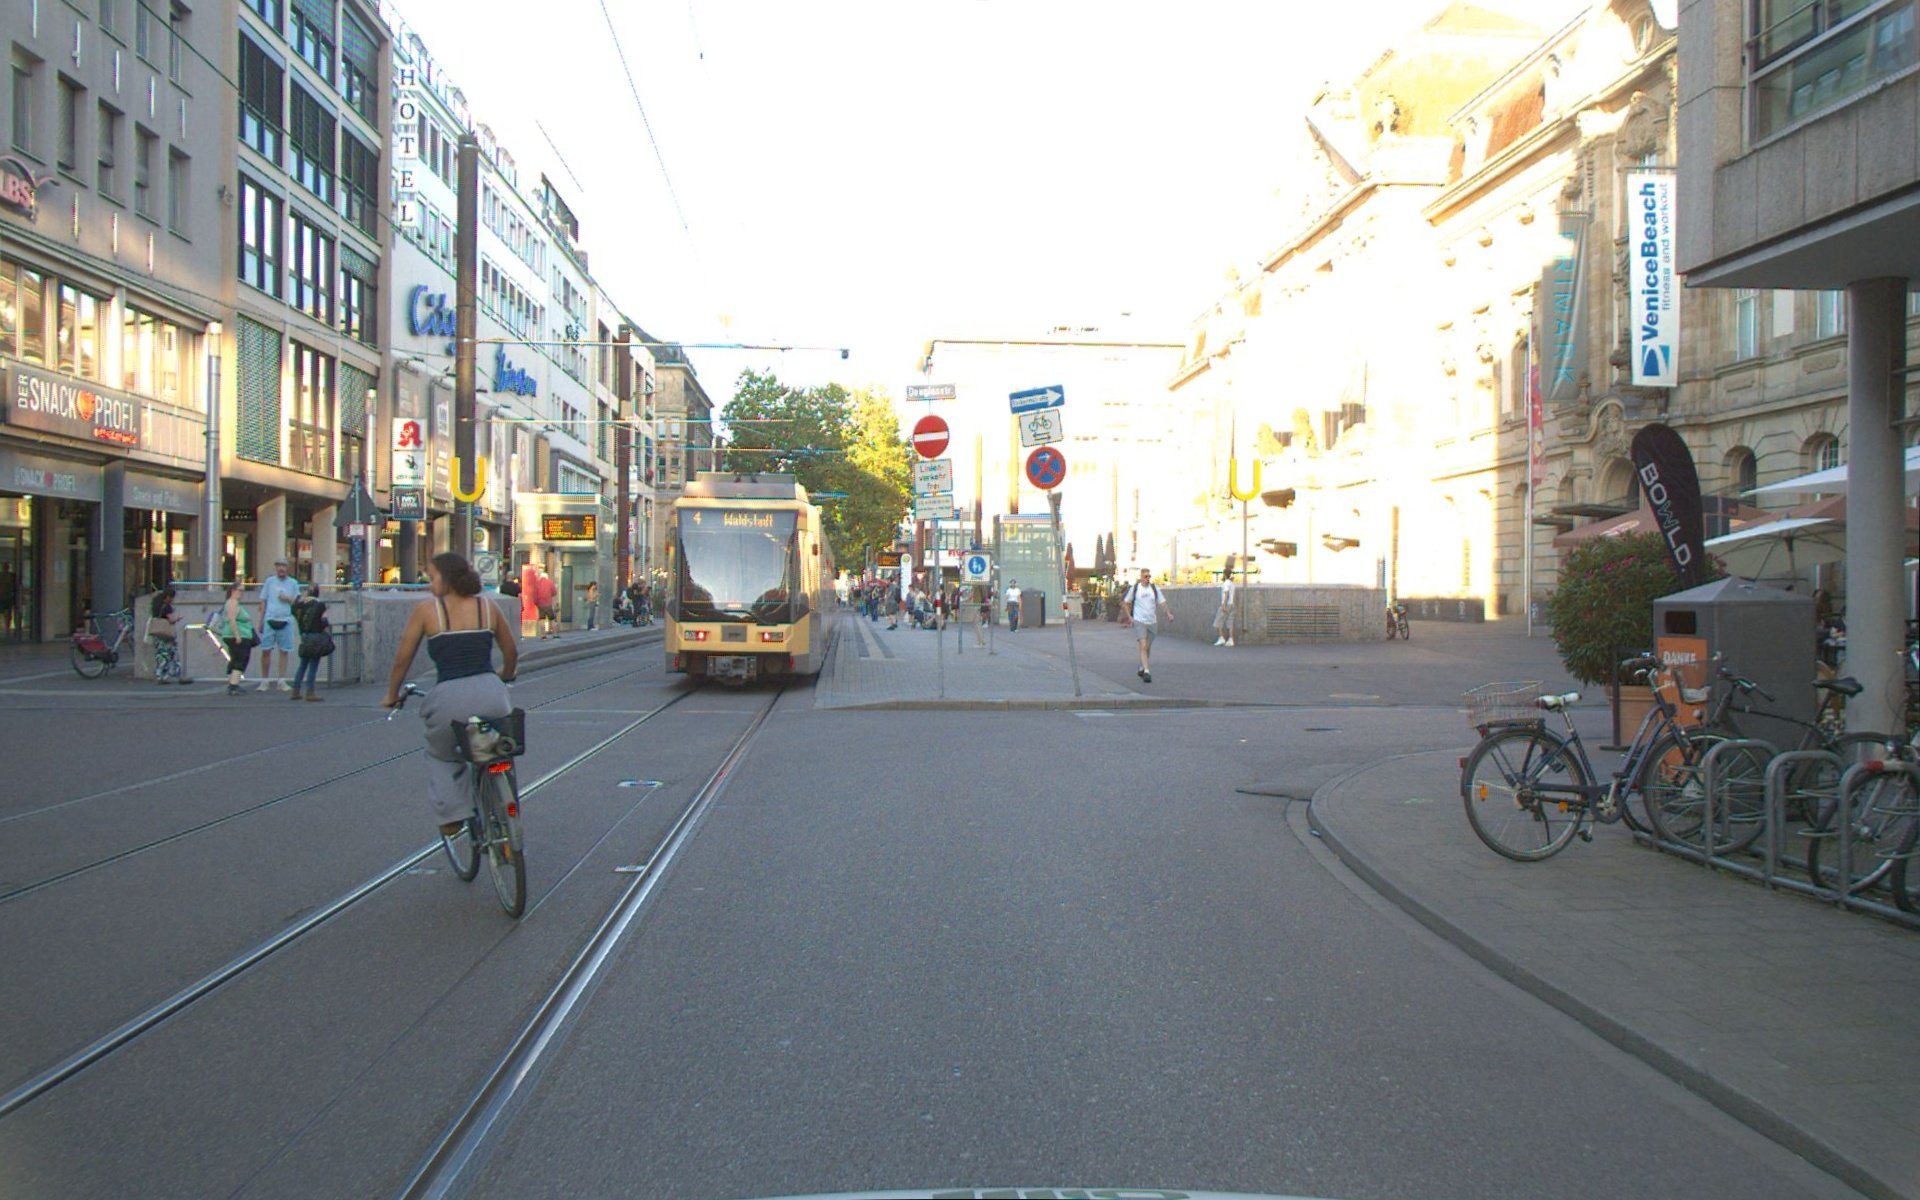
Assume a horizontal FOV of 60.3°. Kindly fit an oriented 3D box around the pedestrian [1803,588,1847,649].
[{"bbox_3d":[19.623,0.415,37.523,0.596,1.331,0.608,1,2,-9],"label":"pedestrian"}]

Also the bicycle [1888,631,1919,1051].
[{"bbox_3d":[4.060,0.754,5.248,1.879,1.356,0.724,-2,0,-9],"label":"bicycle"}]

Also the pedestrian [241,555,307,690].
[{"bbox_3d":[-10.146,0.327,24.475,0.759,1.960,0.707,0,-1,-12],"label":"pedestrian"}]

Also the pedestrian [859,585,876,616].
[{"bbox_3d":[-5.155,0.017,92.300,0.775,1.690,0.770,0,0,8],"label":"pedestrian"}]

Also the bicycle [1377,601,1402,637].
[{"bbox_3d":[10.955,0.483,42.196,0.309,0.882,0.999,-1,0,-5],"label":"bicycle"}]

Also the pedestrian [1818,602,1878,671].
[{"bbox_3d":[17.254,0.691,32.154,0.762,1.264,0.829,1,3,10],"label":"pedestrian"}]

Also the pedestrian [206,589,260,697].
[{"bbox_3d":[-10.329,0.608,23.512,0.593,1.520,0.554,0,-1,-12],"label":"pedestrian"}]

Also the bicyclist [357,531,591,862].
[{"bbox_3d":[-2.431,0.451,8.227,0.984,1.528,0.851,2,0,-24],"label":"bicyclist"}]

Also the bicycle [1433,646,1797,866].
[{"bbox_3d":[3.704,0.862,9.421,1.817,1.128,0.666,-1,0,-7],"label":"bicycle"}]

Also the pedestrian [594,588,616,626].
[{"bbox_3d":[-13.145,0.254,61.310,0.693,1.403,0.720,0,-1,-5],"label":"pedestrian"}]

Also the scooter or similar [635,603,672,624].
[{"bbox_3d":[-12.383,0.543,66.774,0.548,0.845,1.520,-1,-1,35],"label":"scooter or similar"}]

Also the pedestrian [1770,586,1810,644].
[{"bbox_3d":[19.394,0.348,38.646,0.581,1.331,0.581,1,2,-9],"label":"pedestrian"}]

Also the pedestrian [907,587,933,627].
[{"bbox_3d":[-1.596,0.275,65.880,0.751,1.606,0.794,0,0,25],"label":"pedestrian"}]

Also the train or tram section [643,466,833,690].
[{"bbox_3d":[-3.925,-0.383,32.337,2.745,3.377,14.496,0,0,-4],"label":"train or tram section"}]

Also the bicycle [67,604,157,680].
[{"bbox_3d":[-13.712,0.658,26.807,0.488,1.127,1.801,0,2,1],"label":"bicycle"}]

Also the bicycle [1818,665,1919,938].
[{"bbox_3d":[4.908,0.836,7.306,1.879,1.096,0.762,-2,0,-9],"label":"bicycle"}]

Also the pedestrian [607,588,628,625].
[{"bbox_3d":[-13.124,0.258,63.416,0.693,1.403,0.720,0,-1,-5],"label":"pedestrian"}]

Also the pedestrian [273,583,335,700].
[{"bbox_3d":[-8.911,0.560,22.488,0.672,1.569,0.604,0,-1,-11],"label":"pedestrian"}]

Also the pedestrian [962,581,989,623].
[{"bbox_3d":[0.624,0.066,67.040,0.763,1.690,0.782,0,0,-45],"label":"pedestrian"}]

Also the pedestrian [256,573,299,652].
[{"bbox_3d":[-15.276,0.280,37.011,0.700,1.756,0.708,0,-1,-6],"label":"pedestrian"}]

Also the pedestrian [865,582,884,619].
[{"bbox_3d":[-4.029,0.019,77.922,0.750,1.690,0.795,0,0,8],"label":"pedestrian"}]

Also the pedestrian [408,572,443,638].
[{"bbox_3d":[-13.311,0.121,41.185,0.595,1.616,0.624,-1,-1,44],"label":"pedestrian"}]

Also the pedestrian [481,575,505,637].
[{"bbox_3d":[-12.415,0.159,43.972,0.593,1.616,0.626,0,-1,-13],"label":"pedestrian"}]

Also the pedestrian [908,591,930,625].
[{"bbox_3d":[-1.551,0.299,62.642,0.777,1.243,0.768,0,0,-8],"label":"pedestrian"}]

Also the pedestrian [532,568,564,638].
[{"bbox_3d":[-10.370,0.079,41.636,0.700,1.727,0.784,0,-1,-10],"label":"pedestrian"}]

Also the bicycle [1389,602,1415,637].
[{"bbox_3d":[11.273,0.488,42.221,0.309,0.882,0.999,-1,0,-5],"label":"bicycle"}]

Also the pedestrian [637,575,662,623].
[{"bbox_3d":[-11.534,-0.041,61.410,0.700,1.756,0.767,1,-1,-33],"label":"pedestrian"}]

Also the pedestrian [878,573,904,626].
[{"bbox_3d":[-2.448,-0.010,58.908,0.722,1.855,0.816,0,0,-18],"label":"pedestrian"}]

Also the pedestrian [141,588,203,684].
[{"bbox_3d":[-12.159,0.549,25.514,0.544,1.459,0.683,-1,-1,34],"label":"pedestrian"}]

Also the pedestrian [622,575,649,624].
[{"bbox_3d":[-11.710,-0.024,59.657,0.701,1.756,0.766,1,-1,-35],"label":"pedestrian"}]

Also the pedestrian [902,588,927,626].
[{"bbox_3d":[-1.916,0.278,69.976,0.751,1.606,0.794,0,0,25],"label":"pedestrian"}]

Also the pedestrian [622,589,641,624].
[{"bbox_3d":[-13.228,0.263,66.603,0.693,1.403,0.720,0,-1,-5],"label":"pedestrian"}]

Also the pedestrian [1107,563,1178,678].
[{"bbox_3d":[3.059,0.340,27.817,0.993,1.896,1.042,1,0,-4],"label":"pedestrian"}]

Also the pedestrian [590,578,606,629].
[{"bbox_3d":[-11.770,0.112,53.720,0.502,1.646,0.503,0,-1,-13],"label":"pedestrian"}]

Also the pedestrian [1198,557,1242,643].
[{"bbox_3d":[6.339,0.003,40.307,0.896,2.049,0.772,1,0,-3],"label":"pedestrian"}]

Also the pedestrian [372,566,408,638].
[{"bbox_3d":[-14.078,0.049,40.847,0.594,1.756,0.624,-1,-1,43],"label":"pedestrian"}]

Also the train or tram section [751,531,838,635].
[{"bbox_3d":[-5.945,-0.616,61.302,2.745,3.377,14.496,0,0,-4],"label":"train or tram section"}]

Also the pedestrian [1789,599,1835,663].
[{"bbox_3d":[17.349,0.625,33.690,0.602,1.247,0.701,1,2,10],"label":"pedestrian"}]

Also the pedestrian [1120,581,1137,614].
[{"bbox_3d":[9.360,-0.135,91.704,0.758,1.856,0.849,0,0,-7],"label":"pedestrian"}]

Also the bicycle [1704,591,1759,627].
[{"bbox_3d":[19.922,0.230,42.710,1.293,0.909,0.410,-1,1,-9],"label":"bicycle"}]

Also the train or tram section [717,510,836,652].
[{"bbox_3d":[-4.931,-0.505,46.819,2.745,3.377,14.496,0,0,-4],"label":"train or tram section"}]

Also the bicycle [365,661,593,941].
[{"bbox_3d":[-2.449,0.910,8.233,0.804,1.092,2.098,2,0,-24],"label":"bicycle"}]

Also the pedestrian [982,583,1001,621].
[{"bbox_3d":[1.406,0.091,74.083,0.775,1.690,0.770,0,0,8],"label":"pedestrian"}]

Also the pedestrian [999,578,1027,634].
[{"bbox_3d":[1.782,0.191,55.473,0.758,1.855,0.938,-1,0,-7],"label":"pedestrian"}]

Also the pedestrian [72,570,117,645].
[{"bbox_3d":[-20.304,0.182,38.815,0.700,1.756,0.708,0,-1,-6],"label":"pedestrian"}]

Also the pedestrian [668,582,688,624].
[{"bbox_3d":[-11.765,0.126,68.977,0.758,1.756,0.709,0,-1,-4],"label":"pedestrian"}]

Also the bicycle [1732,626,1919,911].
[{"bbox_3d":[4.864,0.759,8.051,1.879,1.244,0.762,-2,0,-9],"label":"bicycle"}]

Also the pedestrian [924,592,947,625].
[{"bbox_3d":[-0.909,0.308,61.881,0.777,1.243,0.768,0,0,-8],"label":"pedestrian"}]

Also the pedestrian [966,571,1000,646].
[{"bbox_3d":[0.551,0.206,39.377,0.704,1.756,0.708,0,-1,-8],"label":"pedestrian"}]

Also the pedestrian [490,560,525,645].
[{"bbox_3d":[-10.515,0.067,38.458,0.700,1.959,0.708,0,-1,-9],"label":"pedestrian"}]

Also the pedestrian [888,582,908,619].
[{"bbox_3d":[-2.789,0.022,74.894,0.775,1.690,0.770,0,0,8],"label":"pedestrian"}]

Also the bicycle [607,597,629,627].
[{"bbox_3d":[-13.567,0.459,65.567,0.428,1.162,1.604,0,0,-27],"label":"bicycle"}]

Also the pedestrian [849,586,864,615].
[{"bbox_3d":[-6.093,0.012,97.661,0.750,1.690,0.795,0,0,5],"label":"pedestrian"}]

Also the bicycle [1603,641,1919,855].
[{"bbox_3d":[4.788,0.837,9.649,1.817,1.128,0.666,-1,0,-7],"label":"bicycle"}]

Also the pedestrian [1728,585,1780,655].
[{"bbox_3d":[16.784,0.418,34.972,0.786,1.407,0.653,1,2,7],"label":"pedestrian"}]

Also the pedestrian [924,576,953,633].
[{"bbox_3d":[-0.701,0.142,53.923,0.722,1.855,0.816,0,0,-18],"label":"pedestrian"}]
